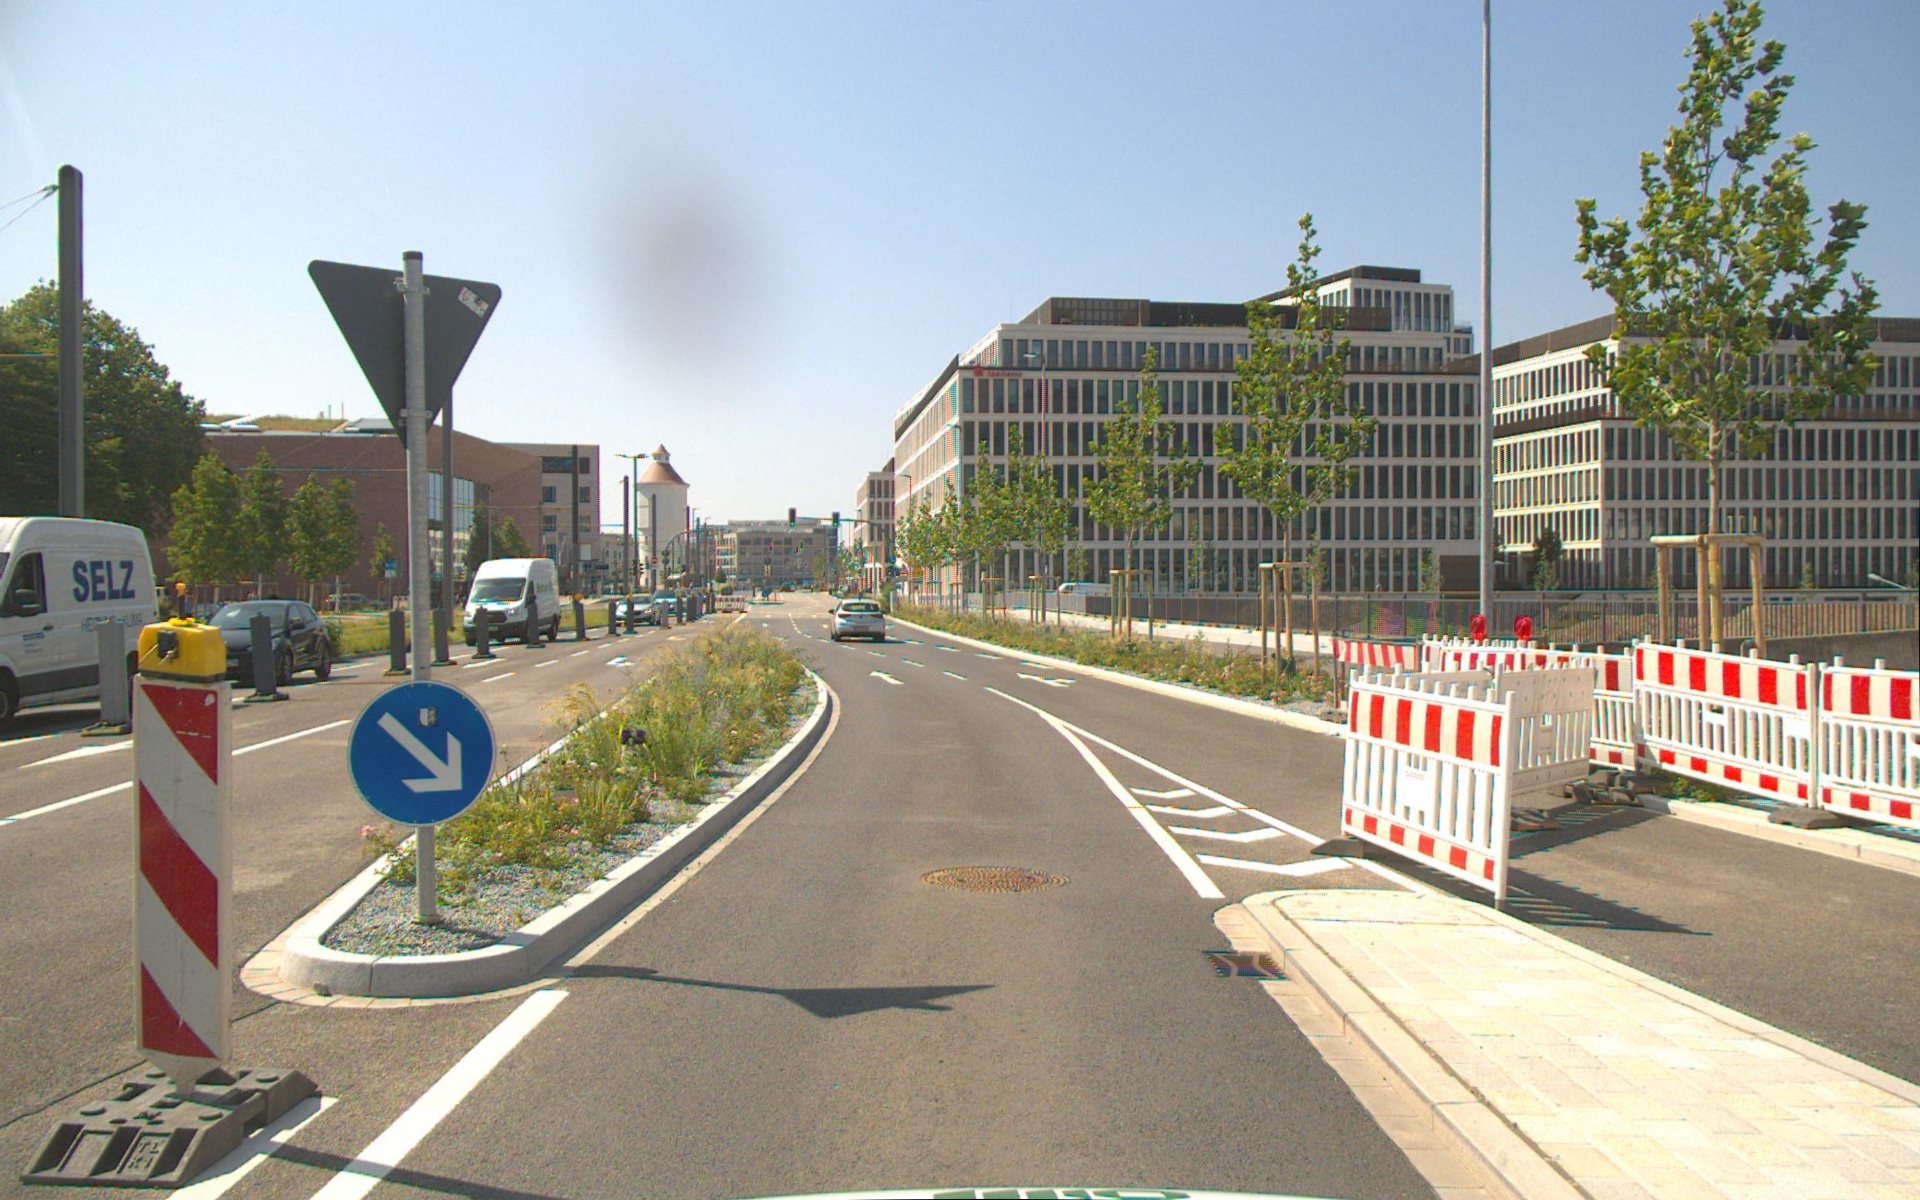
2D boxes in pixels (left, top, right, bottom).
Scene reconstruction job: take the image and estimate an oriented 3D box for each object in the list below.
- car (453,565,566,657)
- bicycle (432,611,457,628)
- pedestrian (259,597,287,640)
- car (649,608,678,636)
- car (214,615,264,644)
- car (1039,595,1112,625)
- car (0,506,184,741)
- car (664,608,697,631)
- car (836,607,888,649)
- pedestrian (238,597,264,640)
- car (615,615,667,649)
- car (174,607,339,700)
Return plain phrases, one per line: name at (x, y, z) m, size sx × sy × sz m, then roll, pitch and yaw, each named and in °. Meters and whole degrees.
car at (-14.755, 0.343, 54.581) m, size 2.035 × 2.788 × 5.985 m, roll -2°, pitch 0°, yaw 0°
bicycle at (-43.713, 1.663, 140.384) m, size 2.019 × 1.478 × 0.537 m, roll 0°, pitch 0°, yaw -18°
pedestrian at (-33.031, 0.900, 79.561) m, size 0.964 × 2.049 × 0.909 m, roll 1°, pitch 0°, yaw -4°
car at (-17.457, 1.282, 97.408) m, size 1.551 × 1.557 × 3.613 m, roll -2°, pitch 0°, yaw -9°
car at (-44.307, 1.801, 101.669) m, size 1.665 × 1.792 × 3.934 m, roll 0°, pitch -1°, yaw -6°
car at (9.605, 0.804, 137.482) m, size 5.725 × 2.310 × 2.143 m, roll 2°, pitch 0°, yaw -7°
car at (-11.892, 0.323, 20.504) m, size 1.991 × 2.623 × 6.187 m, roll -3°, pitch 0°, yaw -5°
car at (-18.275, 1.280, 108.435) m, size 1.548 × 1.441 × 4.294 m, roll -1°, pitch 0°, yaw -2°
car at (-3.465, 0.987, 58.044) m, size 1.737 × 1.419 × 3.528 m, roll 1°, pitch -1°, yaw -5°
pedestrian at (-34.090, 0.877, 79.502) m, size 0.822 × 2.049 × 0.983 m, roll 1°, pitch 0°, yaw -4°
car at (-14.983, 1.480, 77.840) m, size 1.640 × 1.468 × 4.467 m, roll -2°, pitch 0°, yaw -2°
car at (-12.554, 0.896, 29.777) m, size 1.516 × 1.482 × 4.187 m, roll -2°, pitch 0°, yaw -6°
